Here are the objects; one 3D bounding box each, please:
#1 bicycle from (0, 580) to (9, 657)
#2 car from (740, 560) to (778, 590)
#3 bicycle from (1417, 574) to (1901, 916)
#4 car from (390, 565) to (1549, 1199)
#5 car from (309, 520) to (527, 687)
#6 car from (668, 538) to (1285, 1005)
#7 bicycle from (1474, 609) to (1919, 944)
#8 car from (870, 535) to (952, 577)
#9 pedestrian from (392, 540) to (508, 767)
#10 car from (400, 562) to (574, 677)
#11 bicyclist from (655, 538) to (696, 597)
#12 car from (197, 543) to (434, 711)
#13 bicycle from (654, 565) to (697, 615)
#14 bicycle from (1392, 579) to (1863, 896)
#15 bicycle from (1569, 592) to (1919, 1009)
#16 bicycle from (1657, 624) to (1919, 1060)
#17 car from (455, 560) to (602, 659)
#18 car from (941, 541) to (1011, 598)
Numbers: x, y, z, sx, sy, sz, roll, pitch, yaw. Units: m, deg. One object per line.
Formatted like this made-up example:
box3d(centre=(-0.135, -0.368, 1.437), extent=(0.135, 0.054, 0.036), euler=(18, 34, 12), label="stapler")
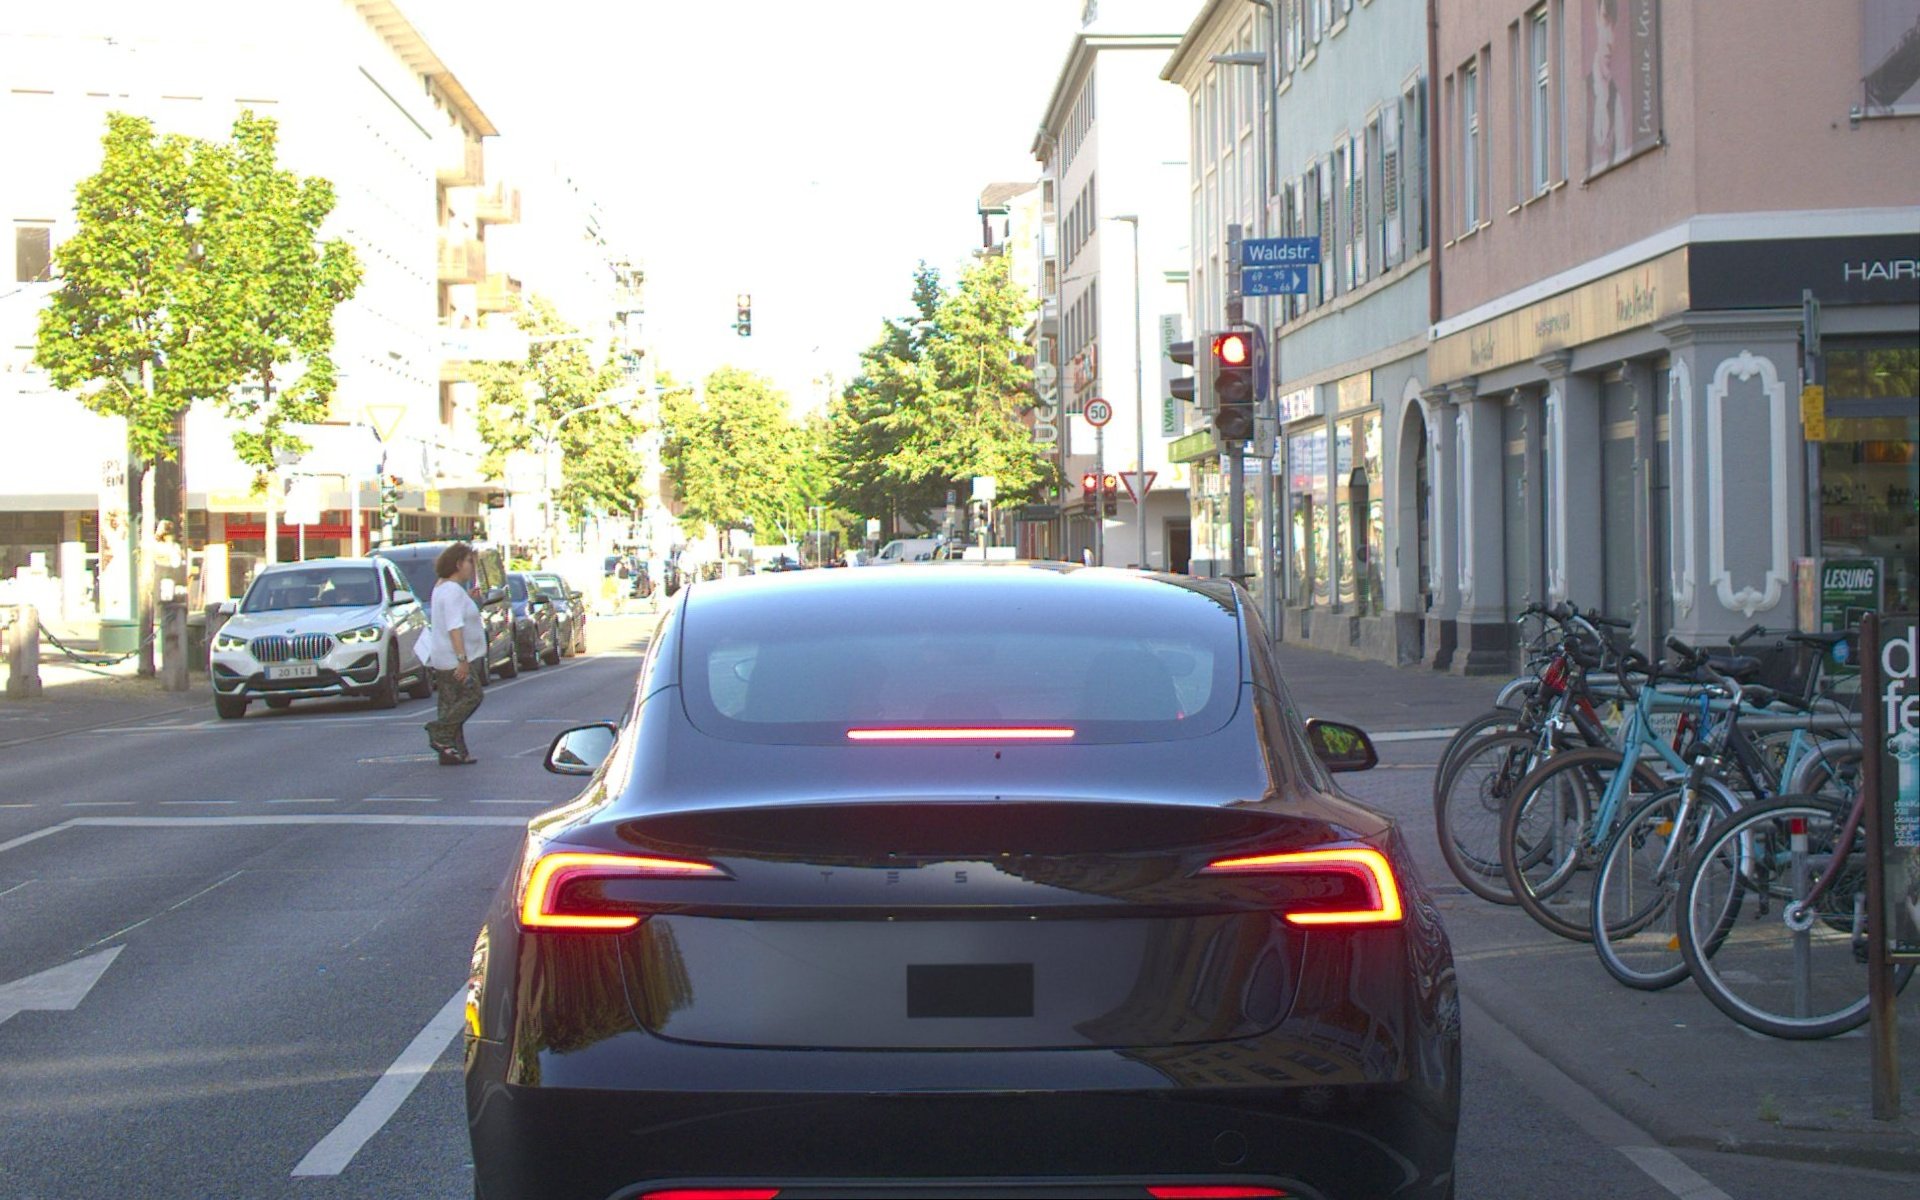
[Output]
box3d(centre=(-15.706, 0.283, 52.227), extent=(2.323, 1.152, 0.843), euler=(0, 1, -5), label="bicycle")
box3d(centre=(-10.933, -1.368, 187.070), extent=(1.993, 1.631, 4.001), euler=(0, 1, -3), label="car")
box3d(centre=(2.745, 0.559, 13.644), extent=(1.746, 1.262, 0.781), euler=(-2, 1, 3), label="bicycle")
box3d(centre=(-0.005, 0.656, 7.496), extent=(1.848, 1.450, 4.000), euler=(0, 1, -1), label="car")
box3d(centre=(-6.645, -0.007, 42.600), extent=(1.834, 1.838, 4.674), euler=(-4, 1, 0), label="car")
box3d(centre=(-0.013, 0.520, 13.205), extent=(1.993, 1.507, 4.176), euler=(0, 1, -2), label="car")
box3d(centre=(2.811, 0.624, 12.466), extent=(1.798, 1.120, 0.781), euler=(-2, 1, 5), label="bicycle")
box3d(centre=(-2.412, -2.149, 167.549), extent=(3.986, 2.007, 2.000), euler=(0, 1, -2), label="car")
box3d(centre=(-3.536, 0.357, 23.792), extent=(0.747, 1.547, 0.699), euler=(0, 1, -12), label="pedestrian")
box3d(centre=(-6.740, 0.241, 49.428), extent=(1.993, 1.405, 4.675), euler=(-4, 1, -3), label="car")
box3d(centre=(-7.905, -0.909, 95.610), extent=(1.126, 1.623, 0.965), euler=(0, 1, -3), label="bicyclist")
box3d(centre=(-6.745, 0.232, 36.392), extent=(1.807, 1.550, 4.310), euler=(-4, 1, -3), label="car")
box3d(centre=(-7.888, -0.294, 95.526), extent=(1.111, 1.340, 4.001), euler=(0, 1, -3), label="bicycle")
box3d(centre=(2.815, 0.570, 14.675), extent=(1.862, 1.253, 0.832), euler=(-2, 1, 5), label="bicycle")
box3d(centre=(2.891, 0.621, 11.114), extent=(1.722, 1.263, 0.790), euler=(-2, 1, 5), label="bicycle")
box3d(centre=(3.037, 0.671, 9.983), extent=(1.886, 1.189, 0.691), euler=(-2, 1, 5), label="bicycle")
box3d(centre=(-7.105, 0.123, 57.019), extent=(1.993, 1.431, 4.675), euler=(-4, 1, -3), label="car")
box3d(centre=(0.441, -0.890, 100.732), extent=(1.993, 1.623, 4.000), euler=(0, 1, 0), label="car")
